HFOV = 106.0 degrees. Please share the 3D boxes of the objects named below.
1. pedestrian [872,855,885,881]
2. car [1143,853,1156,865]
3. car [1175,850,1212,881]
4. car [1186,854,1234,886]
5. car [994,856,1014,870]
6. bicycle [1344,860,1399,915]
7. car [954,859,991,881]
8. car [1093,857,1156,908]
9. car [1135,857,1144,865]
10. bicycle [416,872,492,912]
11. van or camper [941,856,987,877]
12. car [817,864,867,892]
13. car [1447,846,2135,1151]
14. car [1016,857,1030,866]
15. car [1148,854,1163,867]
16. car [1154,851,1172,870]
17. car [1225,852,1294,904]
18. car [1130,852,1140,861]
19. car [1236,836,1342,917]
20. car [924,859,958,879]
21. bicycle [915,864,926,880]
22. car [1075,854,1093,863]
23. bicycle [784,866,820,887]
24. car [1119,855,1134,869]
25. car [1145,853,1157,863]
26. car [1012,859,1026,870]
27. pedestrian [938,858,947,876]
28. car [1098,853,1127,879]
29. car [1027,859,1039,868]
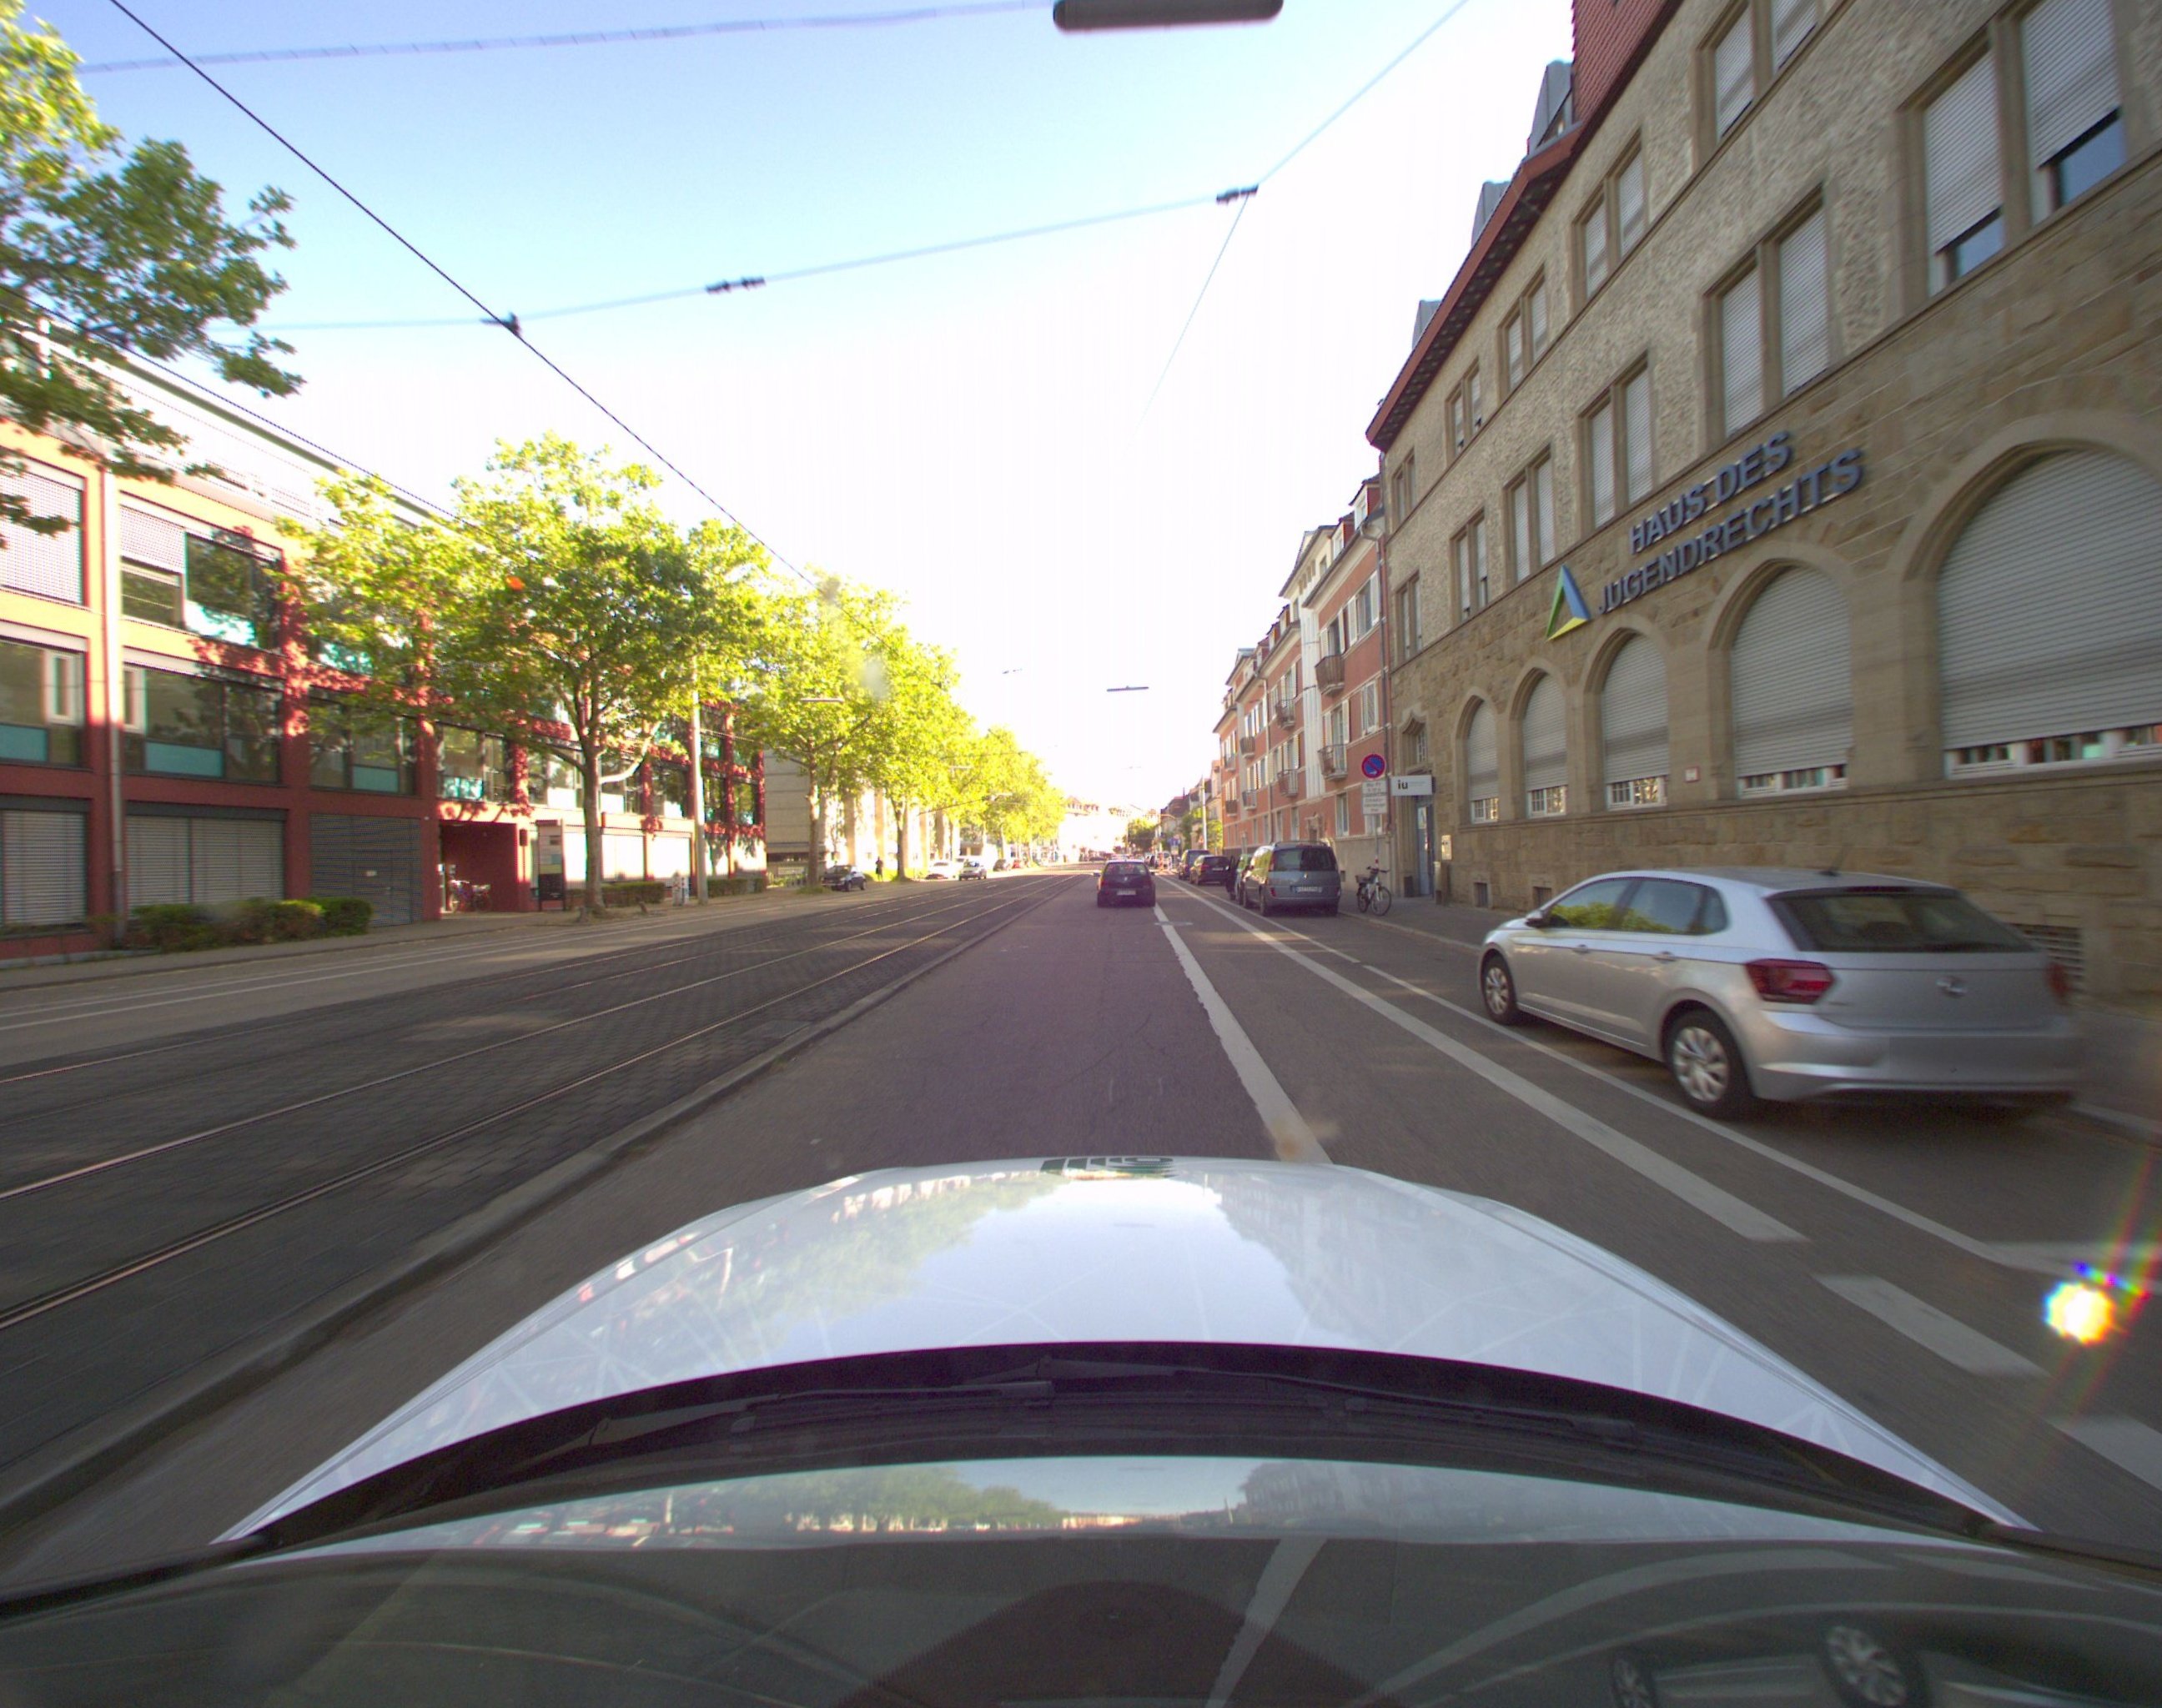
[{"bbox_3d":[-14.460,0.992,58.076,0.788,1.870,0.665,0,0,-25],"label":"pedestrian"},{"bbox_3d":[10.683,0.708,126.927,1.810,1.799,4.003,-1,0,3],"label":"car"},{"bbox_3d":[6.776,0.671,49.400,1.696,1.810,4.272,1,0,1],"label":"car"},{"bbox_3d":[6.388,0.770,40.788,1.748,1.511,4.763,0,0,1],"label":"car"},{"bbox_3d":[-9.825,1.160,103.849,1.880,1.666,4.003,-1,0,3],"label":"car"},{"bbox_3d":[6.721,0.742,18.957,0.512,1.139,2.260,-3,0,2],"label":"bicycle"},{"bbox_3d":[-8.082,1.164,61.195,1.744,1.518,4.078,-3,-1,6],"label":"car"},{"bbox_3d":[1.280,0.807,24.958,1.742,1.375,4.001,-2,0,1],"label":"car"},{"bbox_3d":[12.131,1.433,168.452,1.661,1.598,3.653,-1,0,3],"label":"car"},{"bbox_3d":[-20.742,1.239,26.952,2.054,1.272,0.619,0,1,2],"label":"bicycle"},{"bbox_3d":[-11.404,1.161,79.640,2.042,1.949,5.218,0,0,23],"label":"van or camper"},{"bbox_3d":[-13.170,1.321,45.018,1.500,1.454,3.467,-1,-1,4],"label":"car"},{"bbox_3d":[4.485,0.719,6.179,1.706,1.501,4.229,0,0,3],"label":"car"},{"bbox_3d":[-9.165,1.178,129.517,1.785,1.465,3.838,1,0,3],"label":"car"},{"bbox_3d":[9.556,0.840,104.320,1.654,1.526,4.039,-1,0,3],"label":"car"},{"bbox_3d":[8.499,0.654,84.574,1.752,1.838,3.550,0,0,3],"label":"car"},{"bbox_3d":[5.591,0.709,25.839,1.624,1.511,3.720,0,0,4],"label":"car"},{"bbox_3d":[9.224,0.500,138.956,1.629,1.472,3.732,-1,0,3],"label":"car"},{"bbox_3d":[5.261,0.521,21.192,1.745,1.855,4.819,-1,0,3],"label":"car"},{"bbox_3d":[-11.860,1.285,69.291,2.004,1.572,4.695,0,0,1],"label":"car"},{"bbox_3d":[-12.567,1.394,63.727,0.580,1.209,1.652,-2,0,-3],"label":"bicycle"},{"bbox_3d":[0.662,1.114,188.442,3.985,2.013,1.994,0,0,-9],"label":"car"},{"bbox_3d":[-17.672,1.422,51.577,2.000,1.278,0.664,0,0,2],"label":"bicycle"},{"bbox_3d":[4.978,0.874,89.405,1.629,1.472,3.732,-1,0,3],"label":"car"},{"bbox_3d":[10.481,0.614,122.133,1.573,1.375,4.003,-1,0,3],"label":"car"},{"bbox_3d":[-9.158,1.609,120.411,1.564,1.533,3.575,-1,-1,3],"label":"car"},{"bbox_3d":[-13.958,1.309,81.976,0.793,1.820,0.671,0,0,2],"label":"pedestrian"},{"bbox_3d":[2.114,0.765,53.932,1.741,1.537,3.895,-2,0,3],"label":"car"},{"bbox_3d":[-8.708,1.742,149.088,1.877,1.669,3.806,0,0,2],"label":"car"}]
